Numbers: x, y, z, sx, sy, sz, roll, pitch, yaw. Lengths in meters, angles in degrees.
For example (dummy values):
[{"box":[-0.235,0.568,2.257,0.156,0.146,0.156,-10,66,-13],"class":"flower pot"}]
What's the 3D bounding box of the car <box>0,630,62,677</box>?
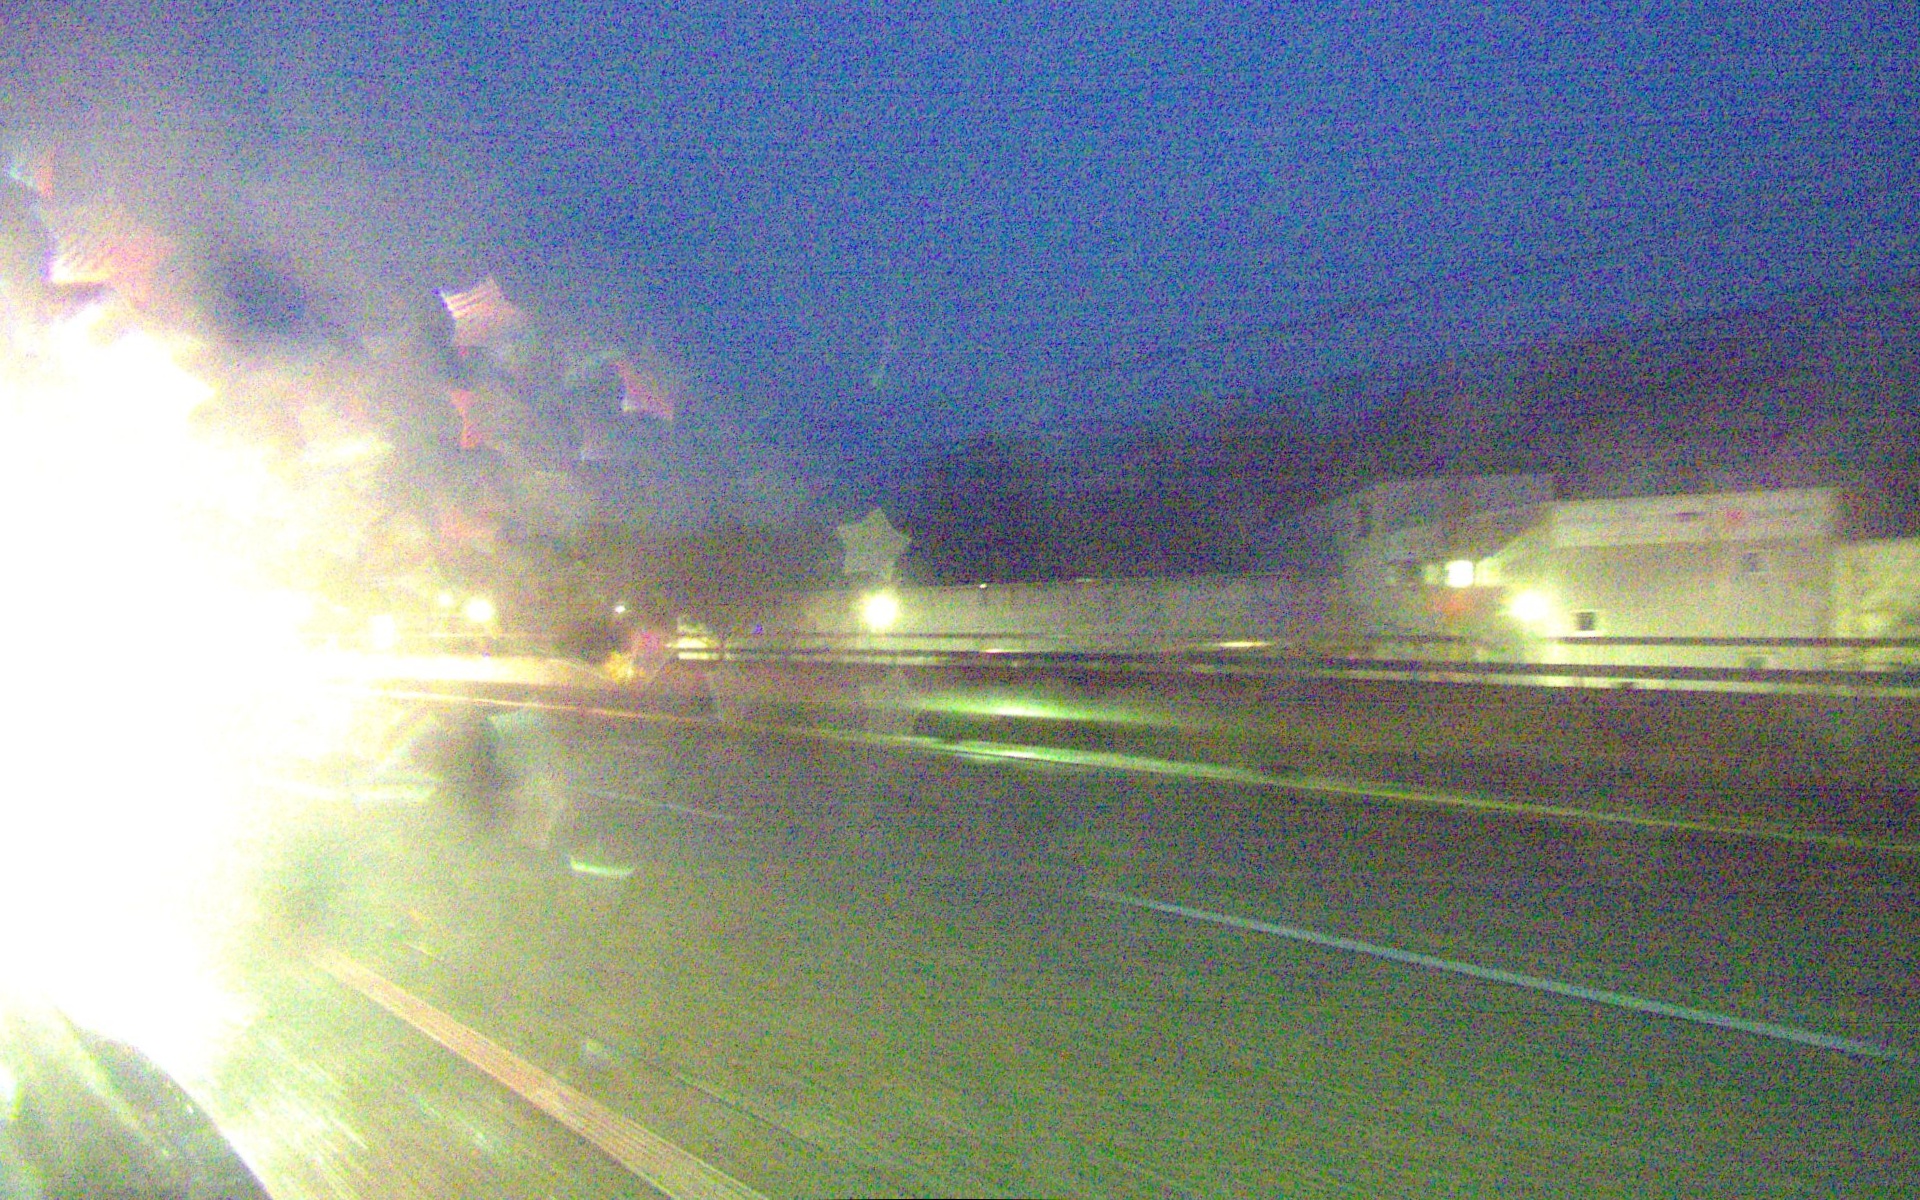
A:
[{"box":[-32.369,1.800,34.536,4.541,1.455,1.899,-2,-1,39],"class":"car"}]
